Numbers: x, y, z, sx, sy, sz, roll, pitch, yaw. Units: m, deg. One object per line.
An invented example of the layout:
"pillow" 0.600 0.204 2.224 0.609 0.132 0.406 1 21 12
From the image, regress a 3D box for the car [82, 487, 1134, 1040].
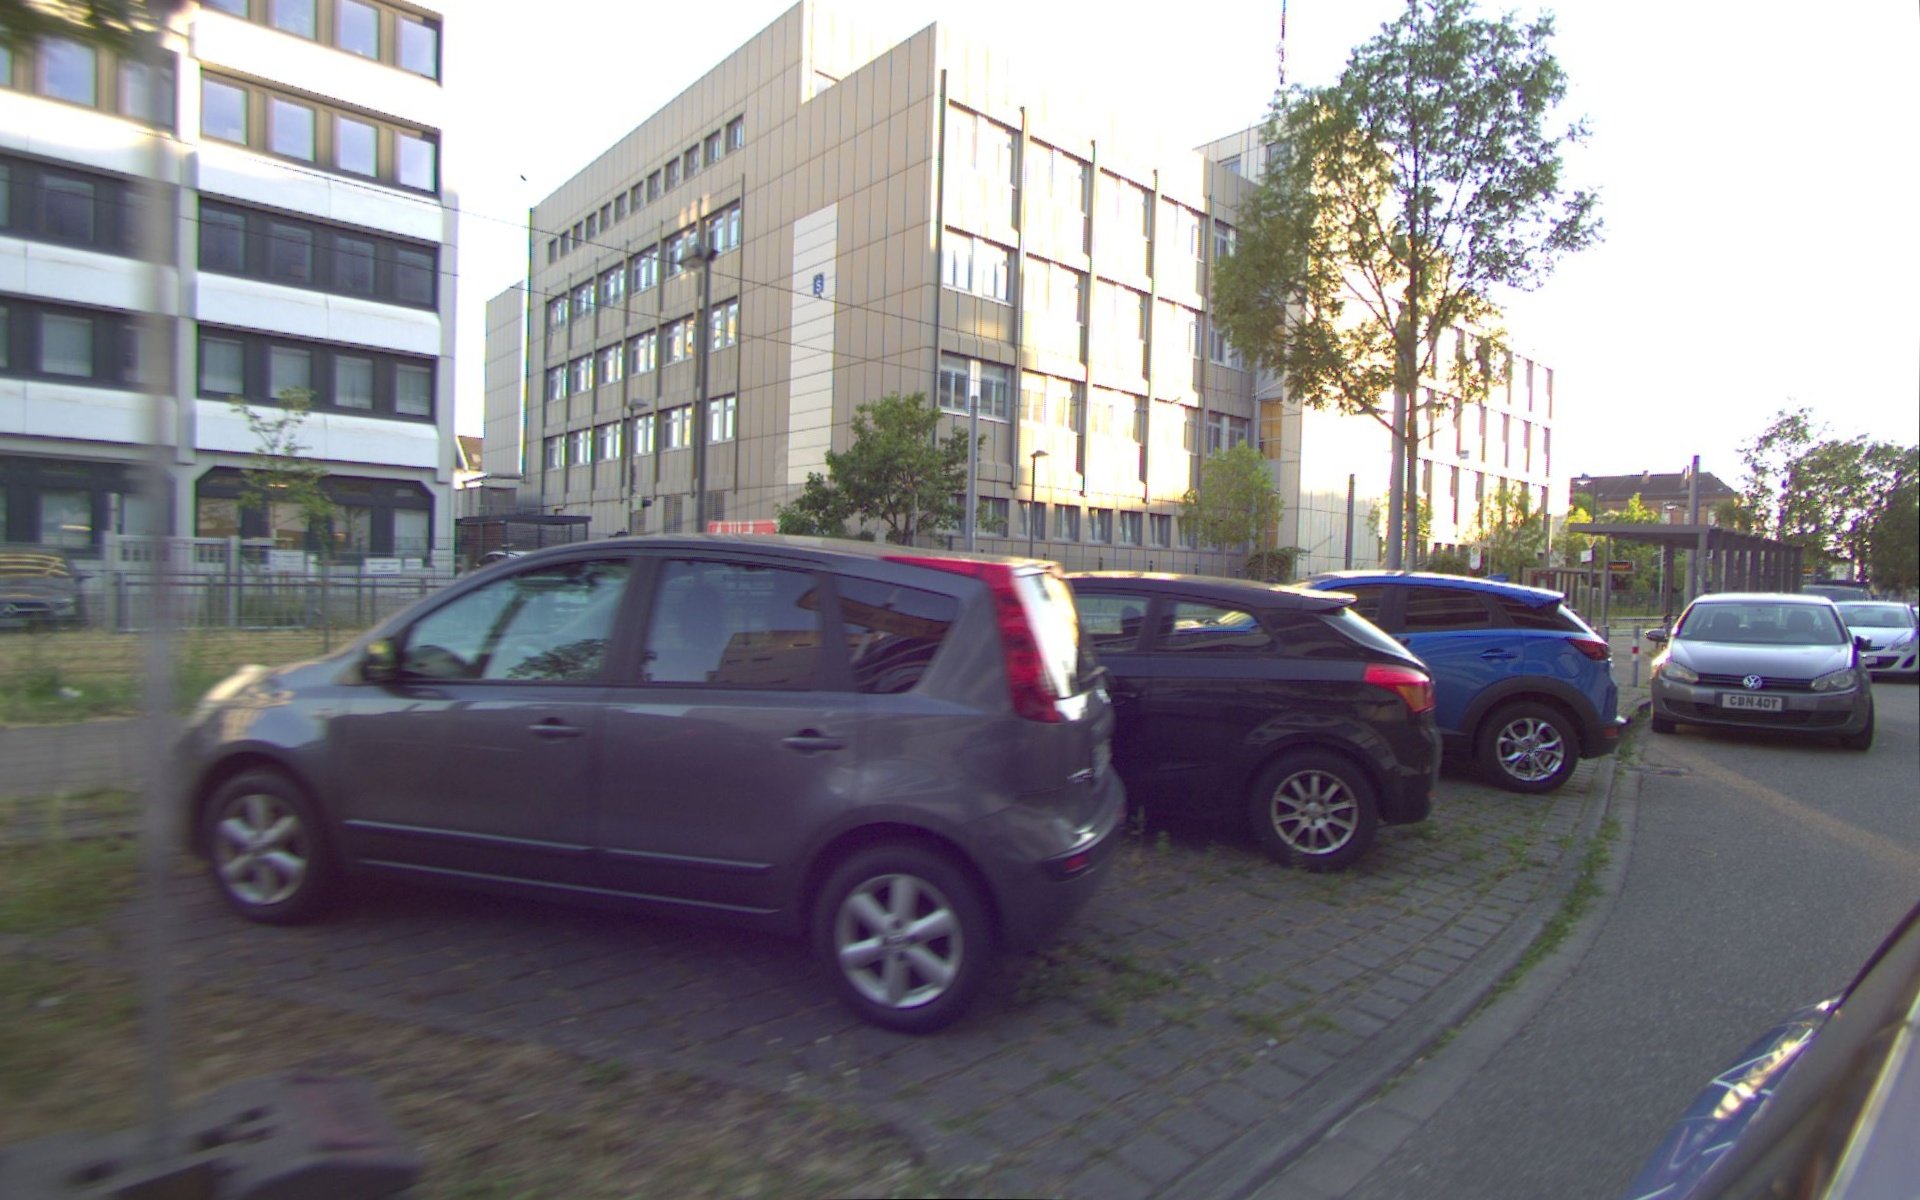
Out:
"car" -1.317 0.474 4.292 3.941 1.615 1.729 0 0 14

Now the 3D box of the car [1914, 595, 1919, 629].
"car" 49.305 0.641 50.779 4.194 1.663 1.711 0 4 -42

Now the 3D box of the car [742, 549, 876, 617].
"car" -4.081 -0.498 26.876 1.646 1.504 3.998 0 4 -40

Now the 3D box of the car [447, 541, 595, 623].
"car" -9.751 -0.444 22.319 1.793 1.531 3.995 1 3 -42

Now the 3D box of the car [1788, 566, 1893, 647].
"car" 27.061 0.169 31.058 4.655 2.203 1.808 0 3 -42

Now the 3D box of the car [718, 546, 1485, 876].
"car" 0.744 0.479 6.110 3.942 1.483 1.729 2 2 14

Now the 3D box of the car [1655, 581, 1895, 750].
"car" 8.768 0.548 10.948 1.728 1.484 3.943 0 1 39

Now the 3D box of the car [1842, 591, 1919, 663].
"car" 21.316 0.576 22.825 4.441 1.470 1.788 0 1 -45

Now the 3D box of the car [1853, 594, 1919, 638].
"car" 36.065 0.583 39.186 4.060 1.511 1.711 0 4 -42

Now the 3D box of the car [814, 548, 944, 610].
"car" -2.364 -0.630 28.768 1.646 1.504 3.998 0 4 -40

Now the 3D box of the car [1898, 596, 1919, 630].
"car" 45.868 0.659 47.691 4.696 1.514 1.801 1 5 -40

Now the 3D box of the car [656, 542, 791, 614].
"car" -5.978 -0.588 25.312 1.646 1.504 3.998 0 4 -40

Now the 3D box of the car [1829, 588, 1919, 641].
"car" 31.521 0.467 34.841 4.399 1.599 1.712 0 3 -40

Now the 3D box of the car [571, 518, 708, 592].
"car" -7.581 -1.094 23.721 1.646 1.504 3.998 0 4 -40

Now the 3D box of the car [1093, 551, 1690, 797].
"car" 3.176 0.434 8.224 3.941 1.539 1.921 2 3 14

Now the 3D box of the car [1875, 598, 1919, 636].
"car" 40.277 0.718 42.926 3.932 1.469 1.711 0 4 -42

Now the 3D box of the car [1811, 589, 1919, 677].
"car" 17.552 0.566 19.255 4.118 1.470 1.677 0 2 -44
